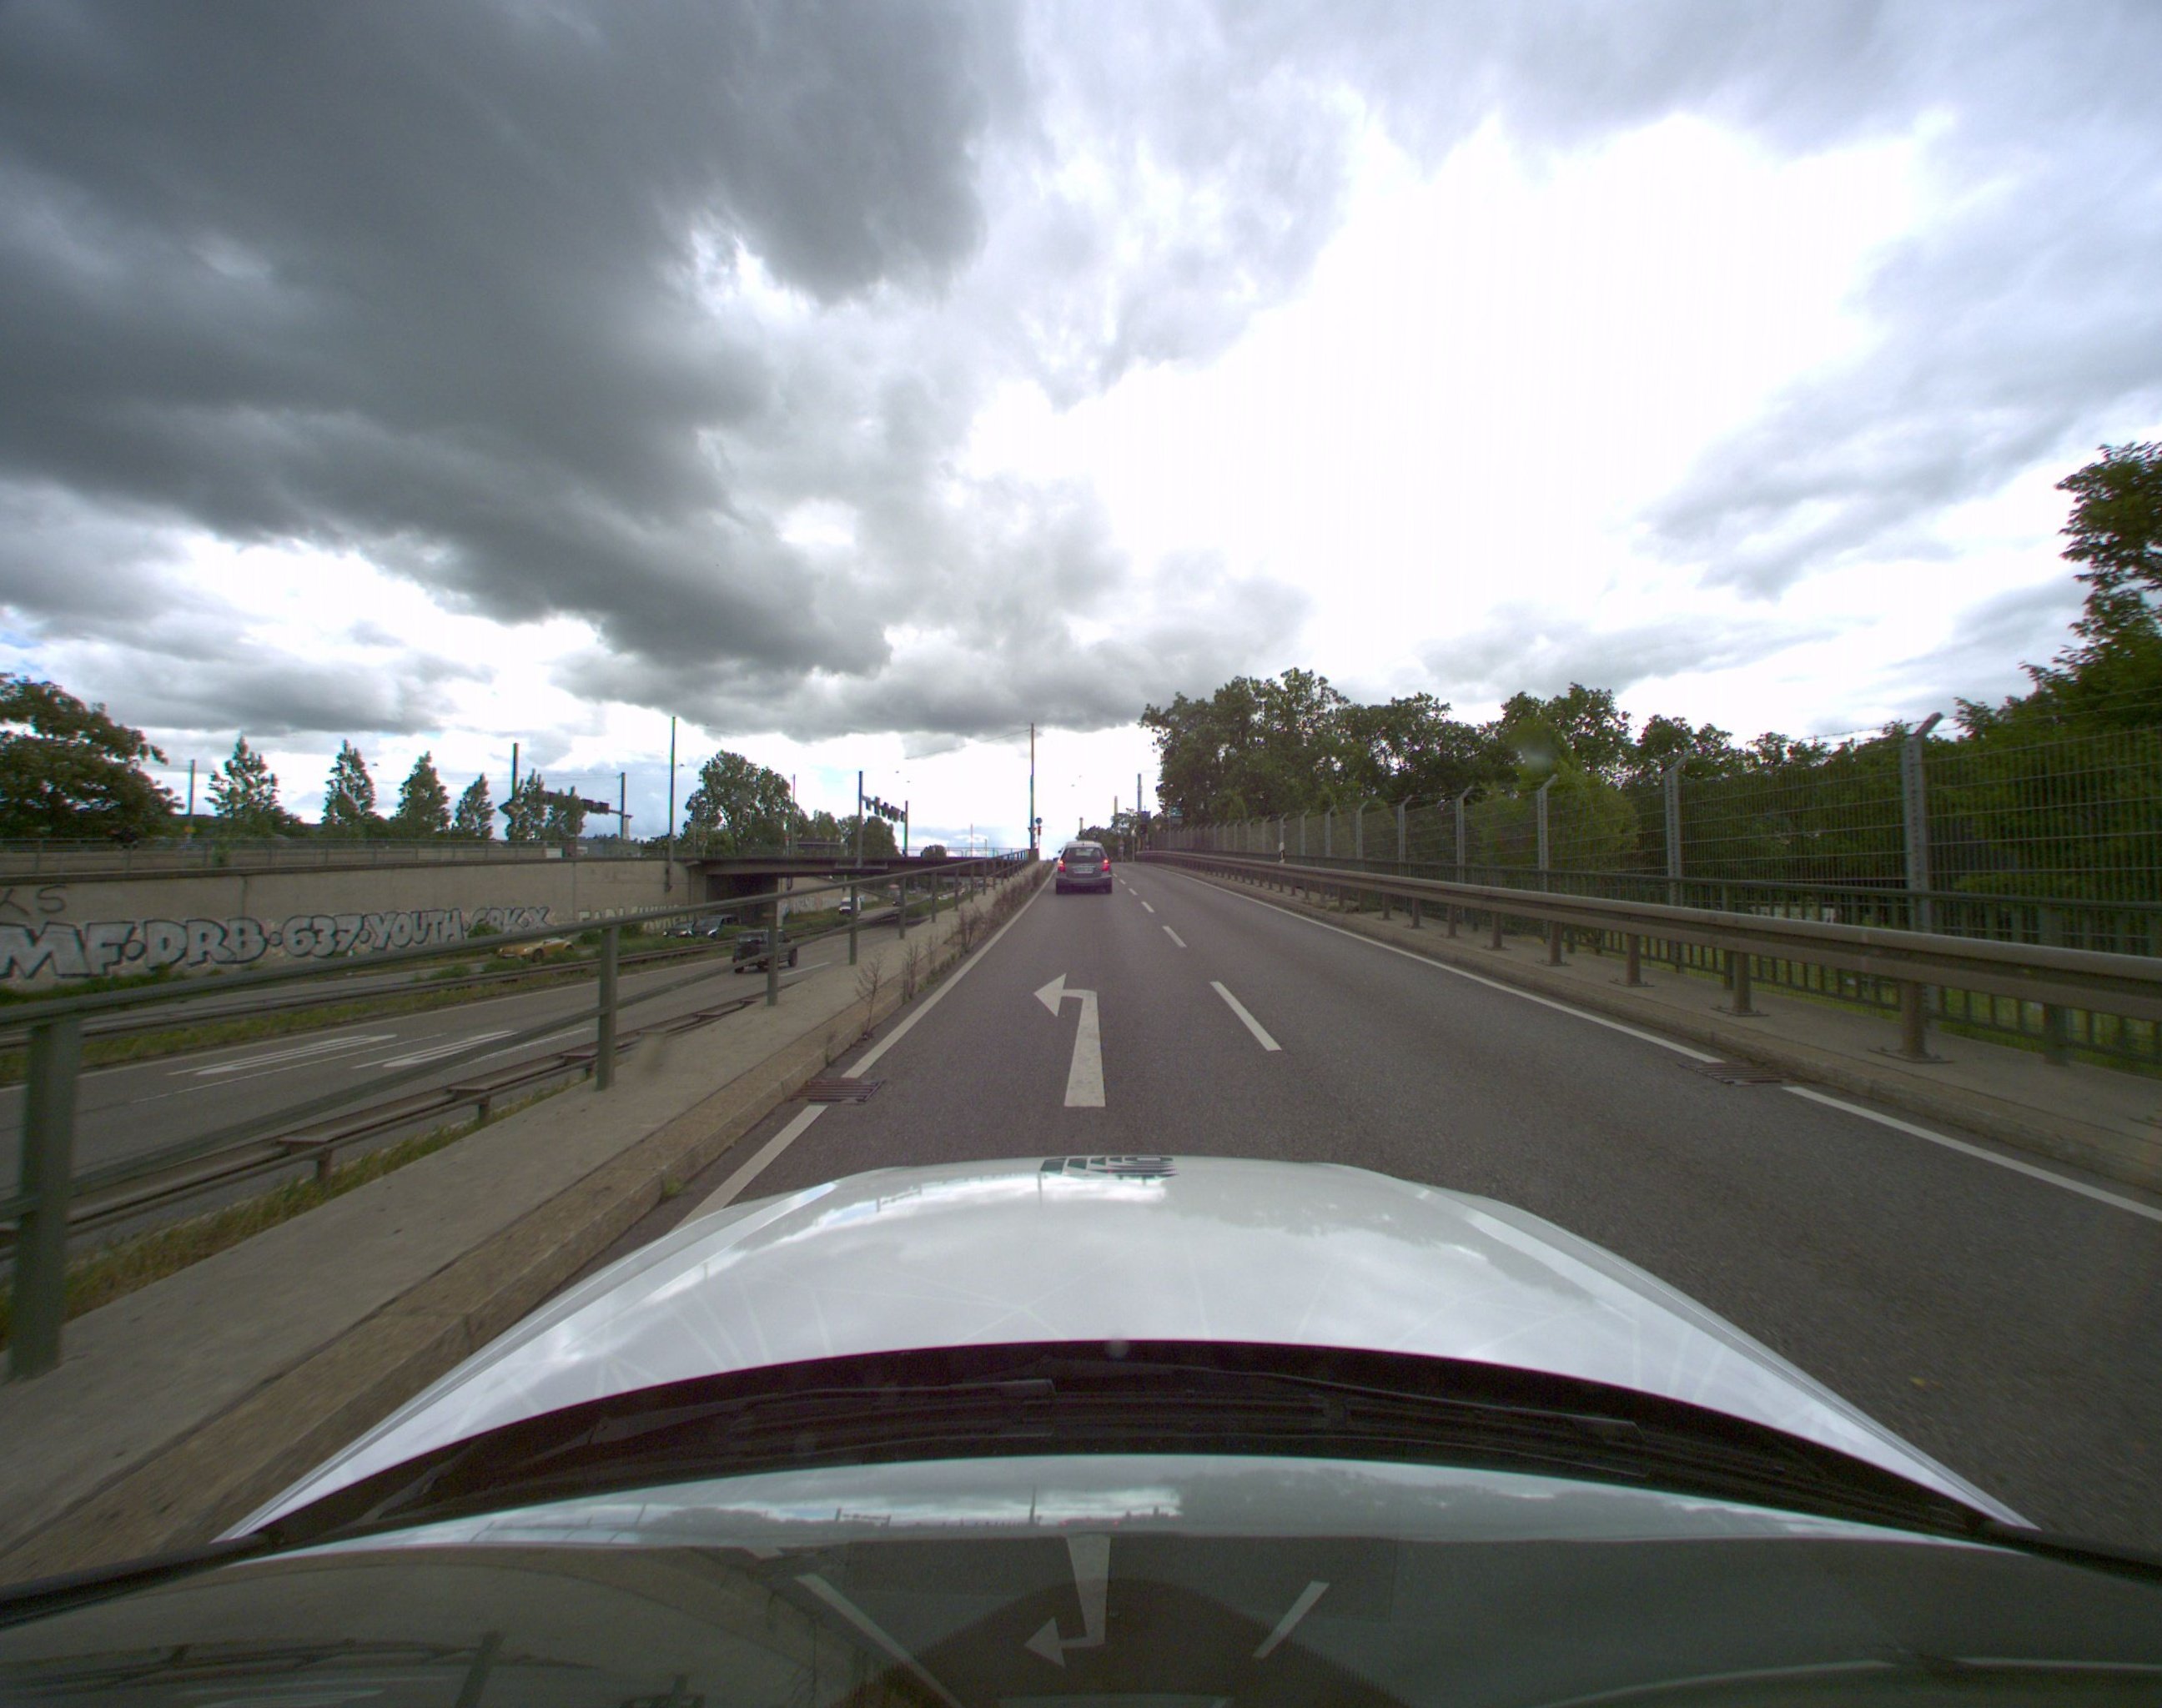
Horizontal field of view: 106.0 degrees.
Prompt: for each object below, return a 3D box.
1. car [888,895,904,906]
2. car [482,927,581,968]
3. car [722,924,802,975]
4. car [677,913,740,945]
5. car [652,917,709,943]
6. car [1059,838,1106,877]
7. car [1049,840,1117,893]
[{"bbox_3d":[-37.177,9.331,163.633,2.288,2.155,6.168,-1,-3,-6],"label":"car"},{"bbox_3d":[-28.550,4.822,42.540,1.987,1.720,4.701,-2,-3,0],"label":"car"},{"bbox_3d":[-13.168,3.906,33.834,1.675,1.736,3.998,-2,-2,1],"label":"car"},{"bbox_3d":[-25.968,5.191,56.971,2.086,1.989,5.111,-2,-3,-1],"label":"car"},{"bbox_3d":[-29.736,5.617,60.611,1.988,1.692,4.699,-1,-3,-2],"label":"car"},{"bbox_3d":[0.069,0.120,37.577,1.987,1.603,4.000,-1,2,0],"label":"car"},{"bbox_3d":[0.144,0.408,26.297,1.740,1.581,4.092,0,-1,7],"label":"car"}]
